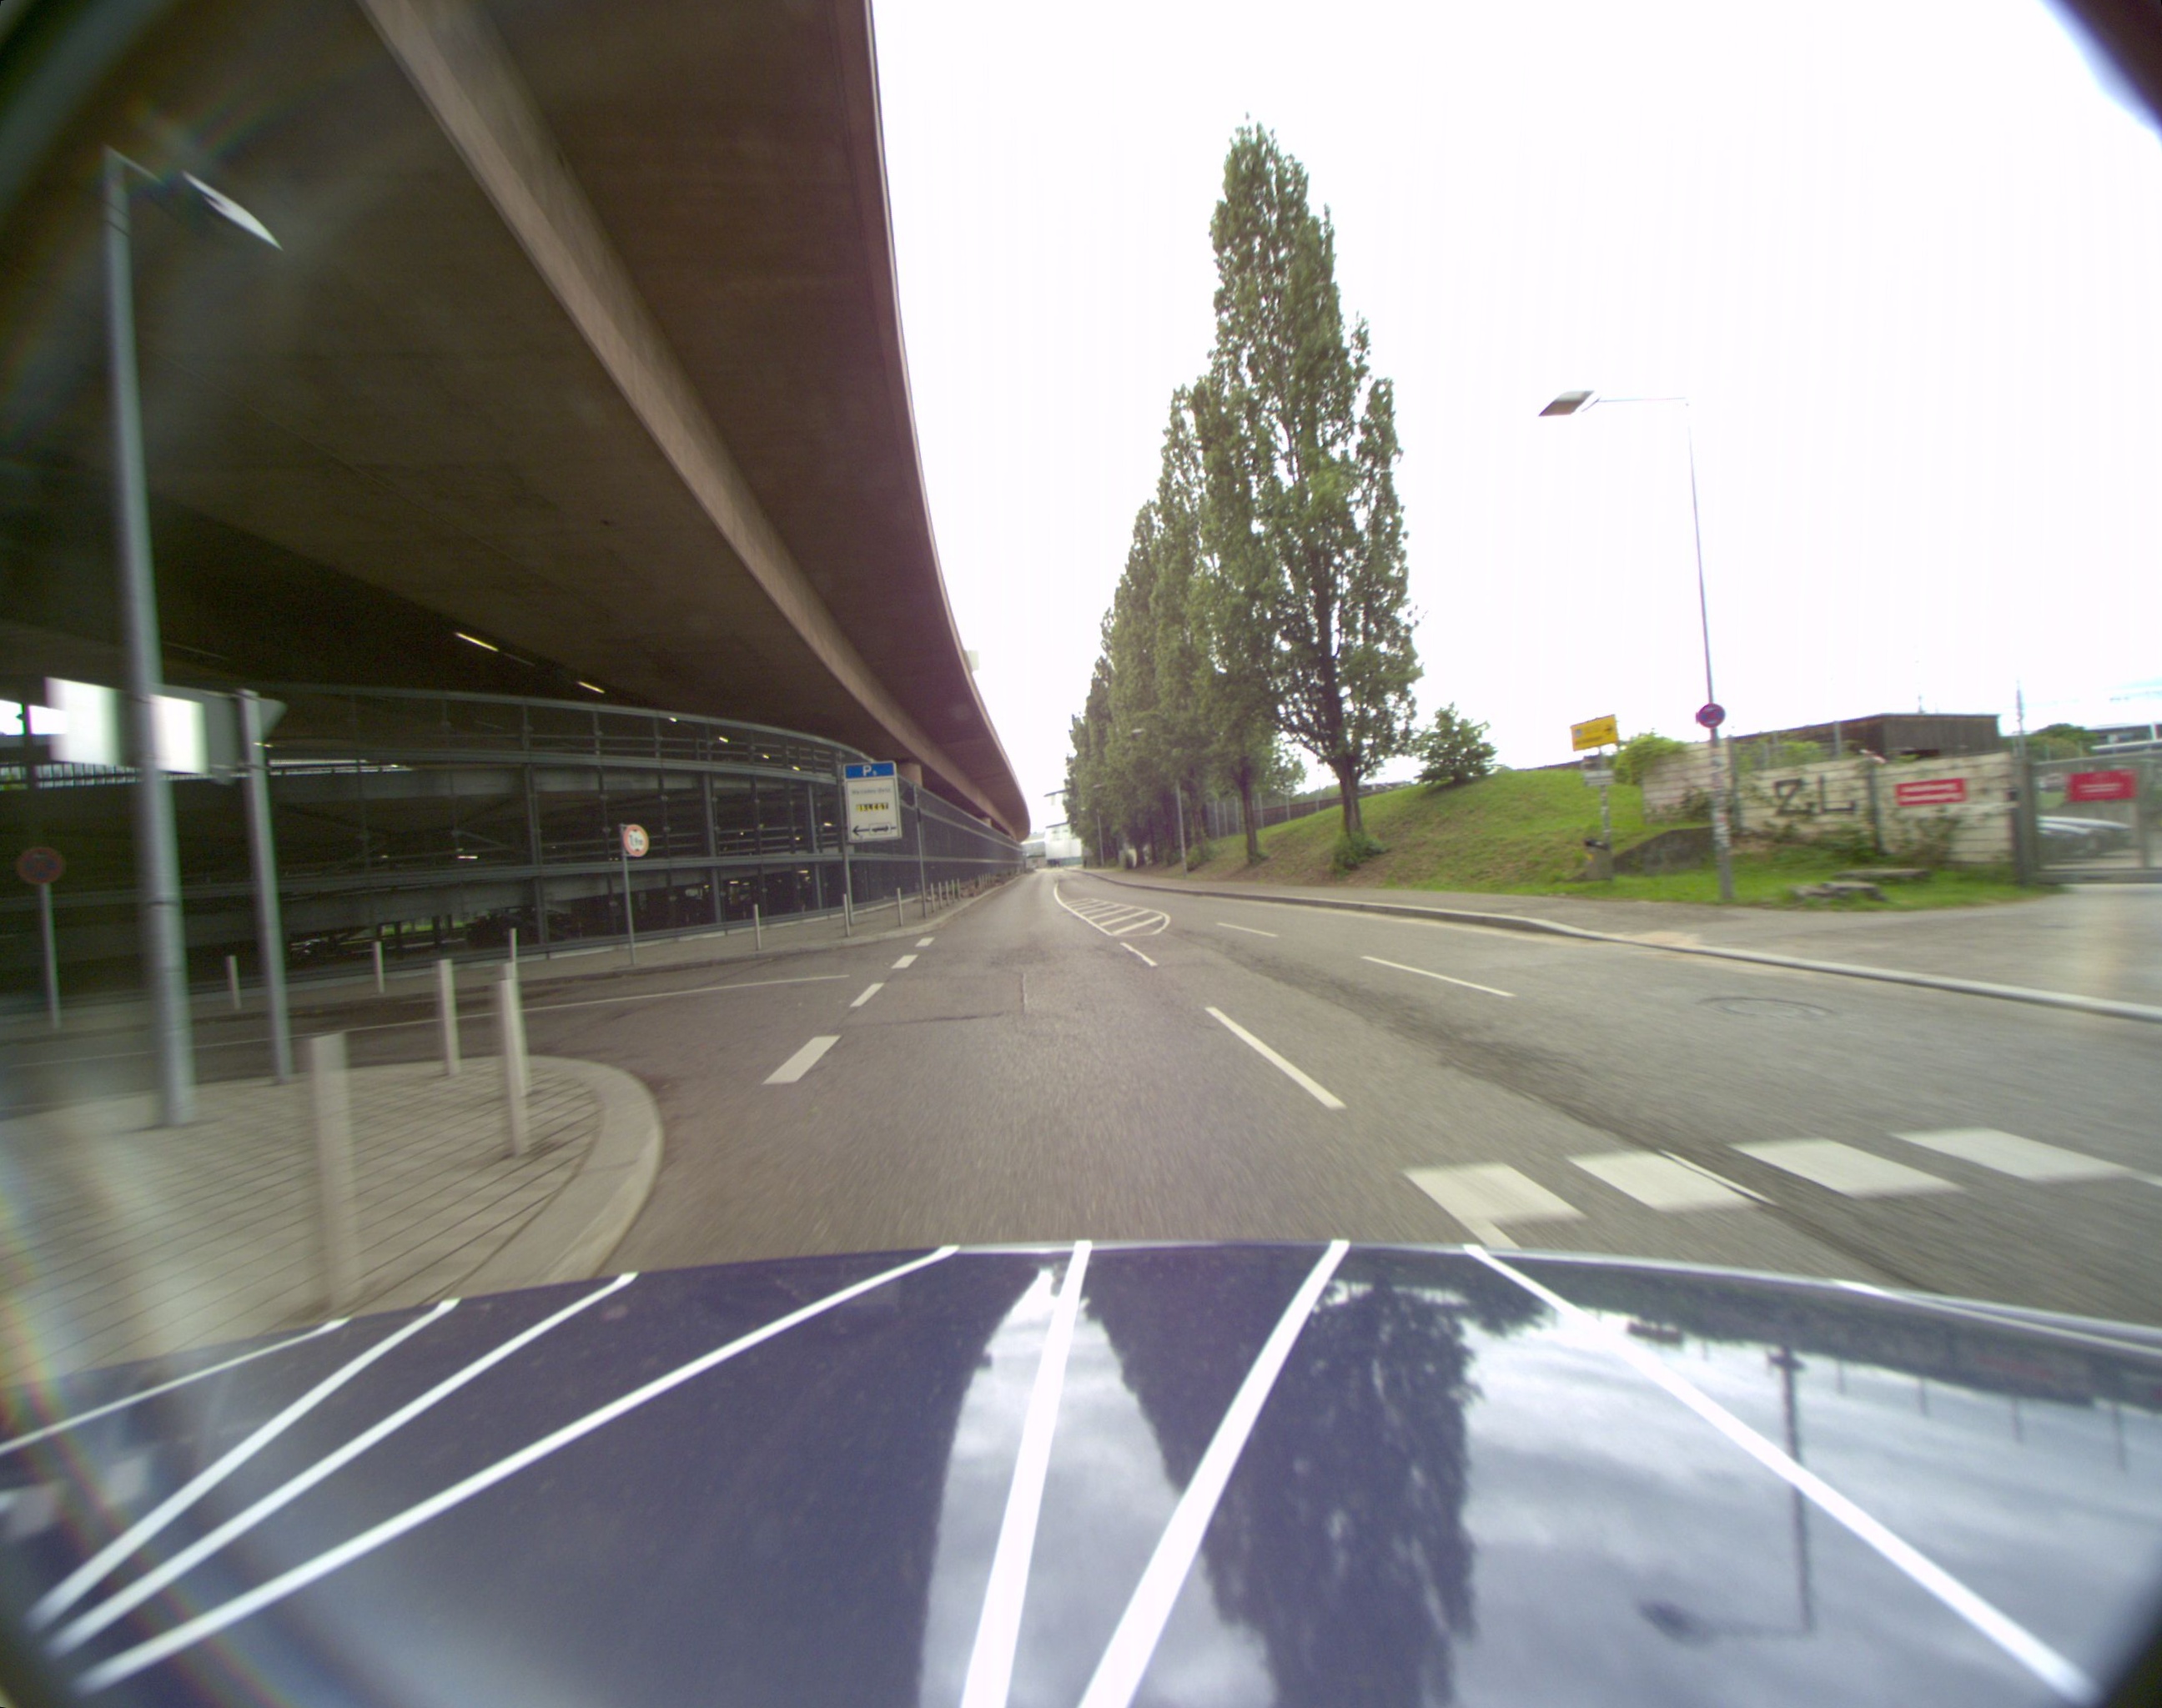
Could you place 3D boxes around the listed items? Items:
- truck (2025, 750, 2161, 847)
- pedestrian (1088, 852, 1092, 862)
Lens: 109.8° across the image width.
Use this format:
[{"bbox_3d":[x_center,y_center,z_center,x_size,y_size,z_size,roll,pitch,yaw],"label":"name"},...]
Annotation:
[{"bbox_3d":[34.524,-1.819,24.962,1.824,2.991,4.096,-3,1,-30],"label":"truck"},{"bbox_3d":[1.673,0.525,136.943,0.662,1.882,0.736,-3,1,-2],"label":"pedestrian"}]
